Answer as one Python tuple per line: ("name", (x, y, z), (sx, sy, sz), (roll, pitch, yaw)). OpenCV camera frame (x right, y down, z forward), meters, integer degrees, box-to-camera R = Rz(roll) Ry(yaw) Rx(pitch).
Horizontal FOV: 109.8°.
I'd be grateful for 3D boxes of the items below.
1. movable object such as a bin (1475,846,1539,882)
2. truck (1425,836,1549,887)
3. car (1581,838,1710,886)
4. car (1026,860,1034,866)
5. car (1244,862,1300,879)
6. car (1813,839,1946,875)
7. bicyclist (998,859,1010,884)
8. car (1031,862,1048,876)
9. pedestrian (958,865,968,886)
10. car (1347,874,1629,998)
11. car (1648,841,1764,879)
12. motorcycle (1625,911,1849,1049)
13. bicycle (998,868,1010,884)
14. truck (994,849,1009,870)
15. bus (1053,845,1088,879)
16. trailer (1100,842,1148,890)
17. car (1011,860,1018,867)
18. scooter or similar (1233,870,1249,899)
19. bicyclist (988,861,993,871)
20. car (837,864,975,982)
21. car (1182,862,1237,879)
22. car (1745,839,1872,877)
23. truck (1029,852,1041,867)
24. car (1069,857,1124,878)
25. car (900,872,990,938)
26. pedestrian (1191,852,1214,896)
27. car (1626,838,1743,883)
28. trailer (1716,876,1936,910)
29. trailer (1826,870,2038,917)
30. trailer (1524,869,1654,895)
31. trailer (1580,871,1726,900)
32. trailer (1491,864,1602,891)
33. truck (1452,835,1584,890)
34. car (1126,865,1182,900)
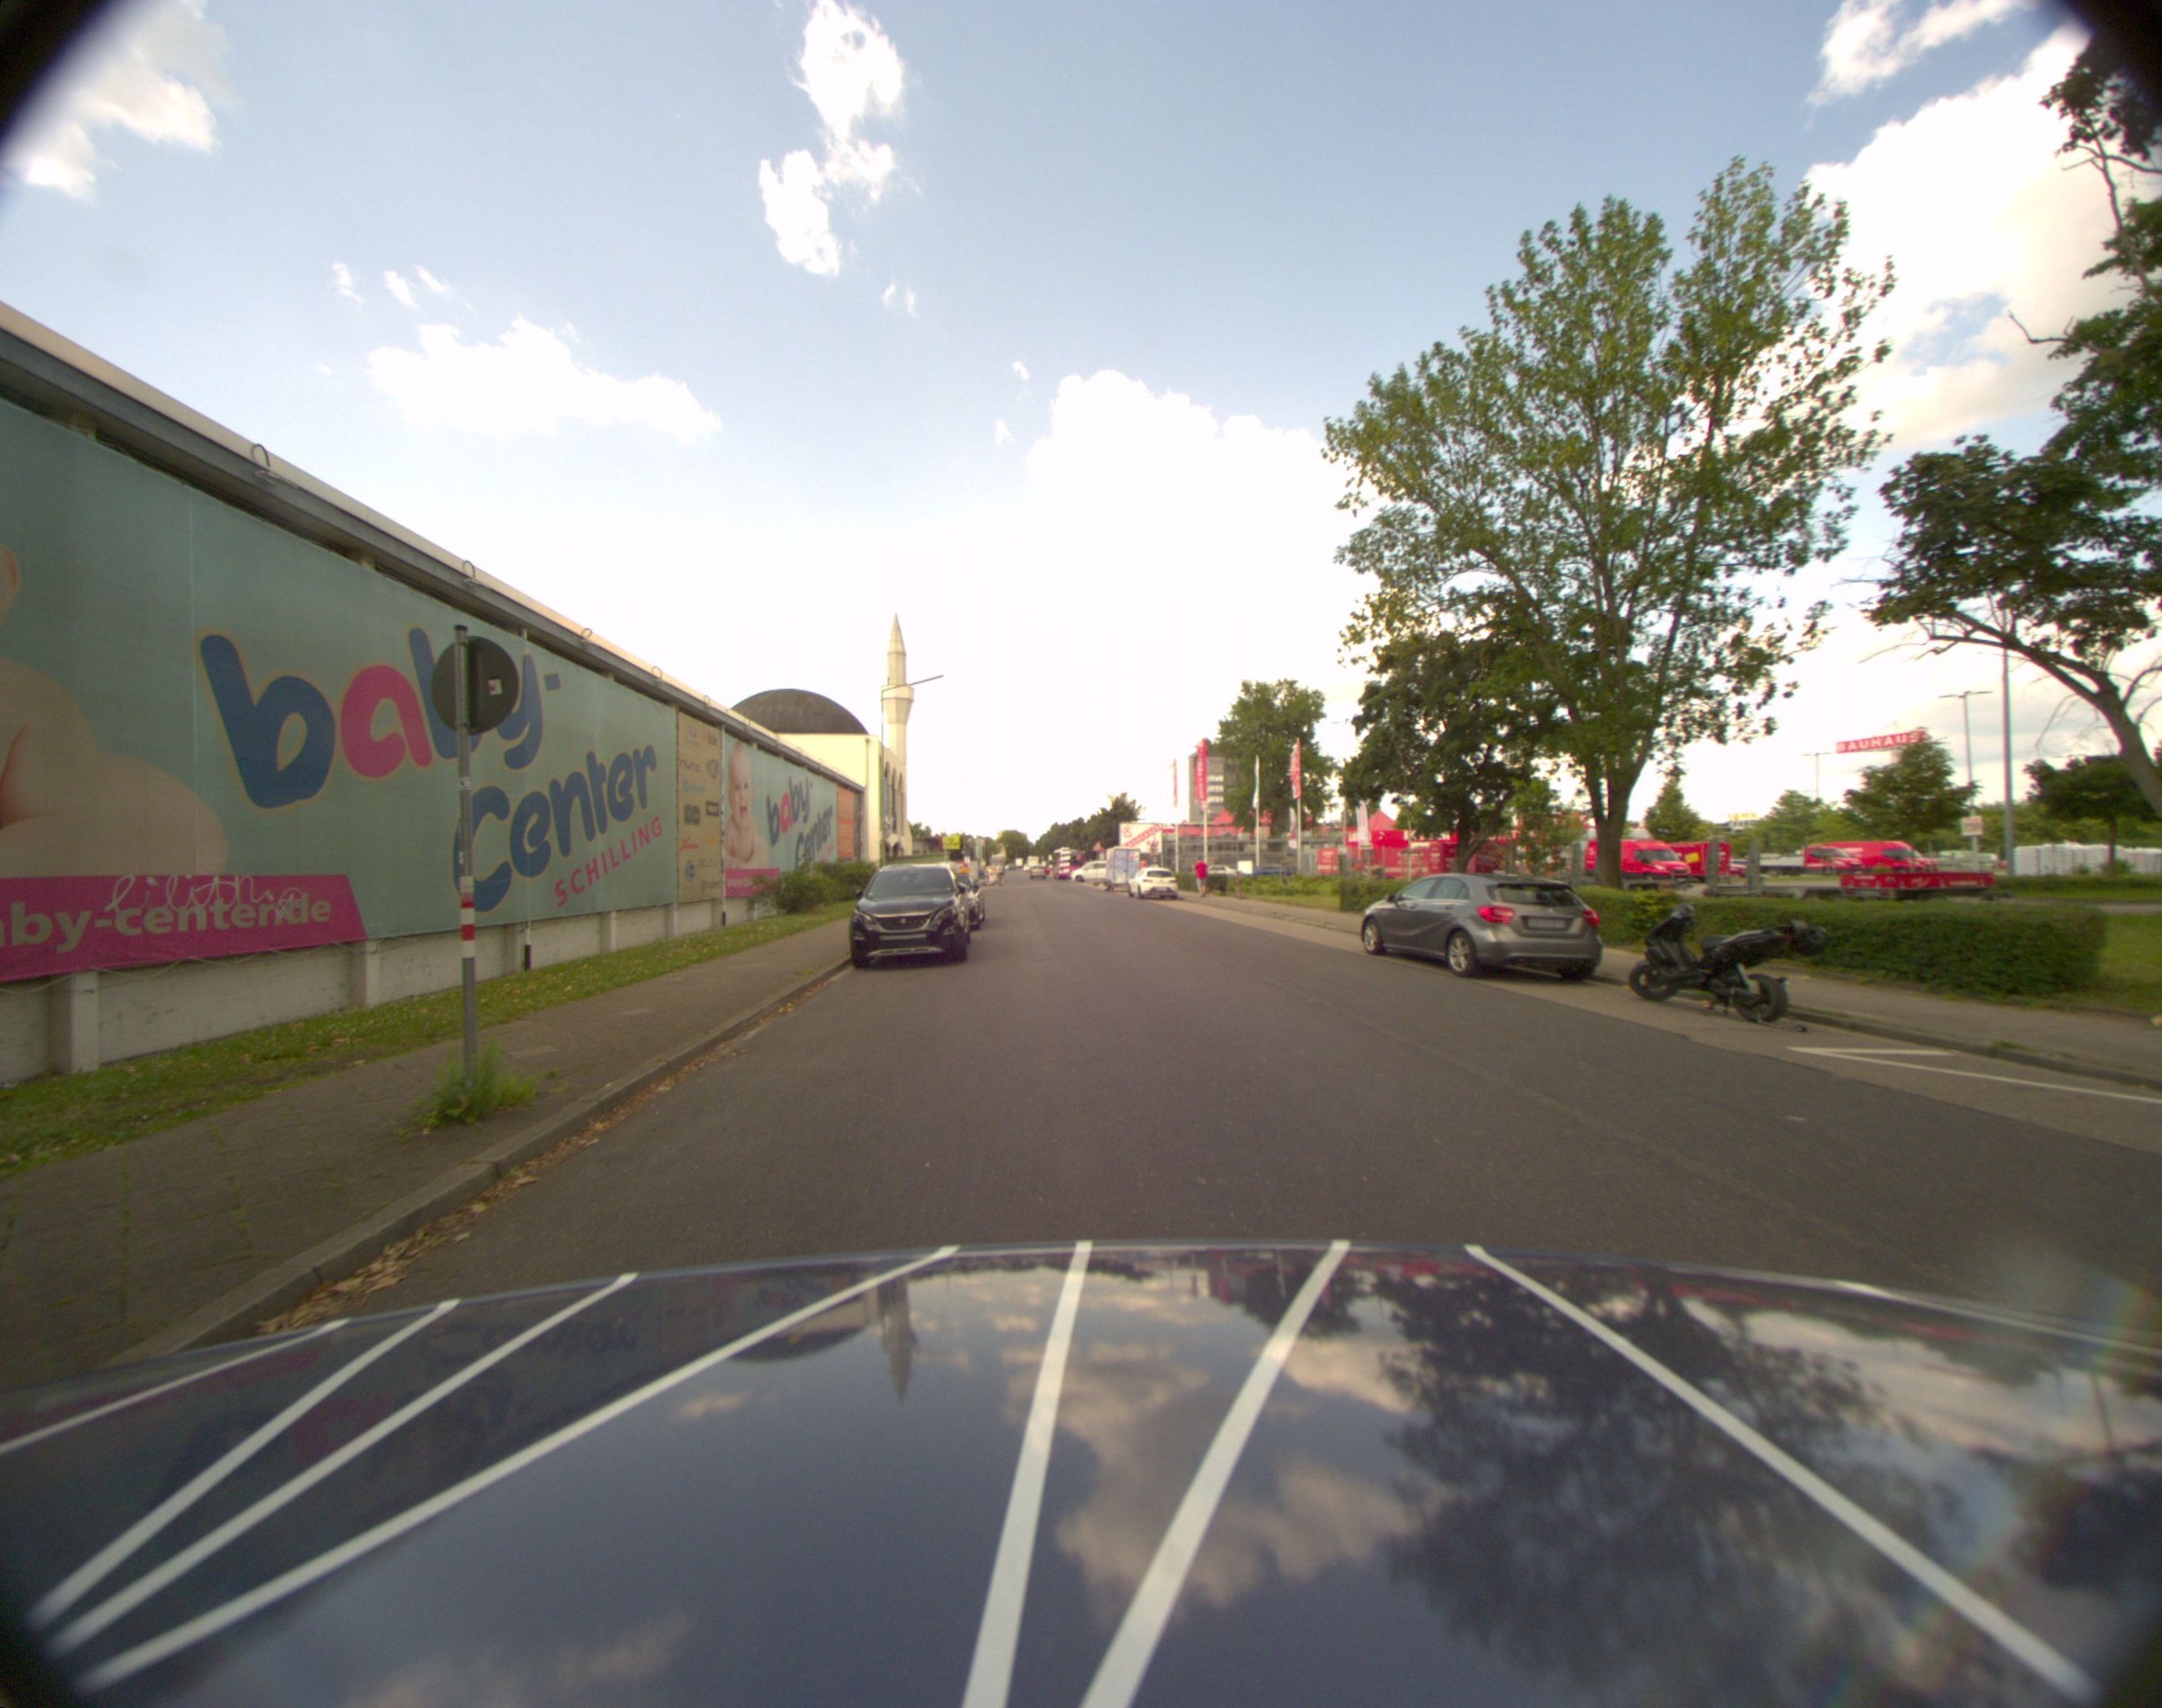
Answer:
("movable object such as a bin", (27.630, 0.642, 49.410), (1.999, 2.261, 3.544), (-1, 0, -5))
("truck", (21.573, 0.385, 40.493), (5.771, 2.579, 1.814), (-1, 2, -3))
("car", (32.398, 0.354, 43.985), (2.273, 2.579, 6.434), (-1, 1, -5))
("car", (-12.040, 2.124, 177.860), (1.688, 1.461, 3.610), (1, -1, -6))
("car", (16.709, 1.421, 66.480), (4.378, 1.368, 1.929), (-1, 0, -5))
("car", (56.372, 0.118, 53.924), (2.273, 2.402, 6.433), (-1, 1, -6))
("bicyclist", (-5.910, 1.327, 58.067), (0.809, 1.782, 1.206), (-3, 1, -6))
("car", (-4.437, 1.628, 81.303), (1.596, 1.456, 3.760), (1, -1, -6))
("pedestrian", (-8.664, 1.551, 55.842), (0.683, 1.525, 1.129), (-1, 0, -7))
("car", (5.825, 1.079, 11.606), (1.714, 1.411, 4.329), (2, -1, -4))
("car", (42.794, 0.304, 52.322), (2.273, 2.402, 6.433), (-1, 1, -6))
("motorcycle", (6.669, 1.228, 7.868), (0.623, 1.131, 1.802), (2, 0, -5))
("bicycle", (-5.887, 1.676, 58.019), (0.800, 1.173, 2.625), (-2, 0, -6))
("truck", (-16.418, 1.218, 157.788), (2.786, 4.092, 8.275), (-3, 0, -5))
("bus", (-1.302, 0.878, 85.577), (2.671, 3.402, 13.212), (3, -1, -5))
("trailer", (2.586, 0.733, 46.548), (2.146, 2.766, 4.701), (2, -1, -6))
("car", (-17.556, 2.504, 200.970), (1.798, 1.881, 3.998), (-1, -1, -6))
("scooter or similar", (6.852, 1.293, 32.552), (0.518, 1.186, 1.280), (-1, 0, 6))
("bicyclist", (-17.537, 2.383, 146.969), (0.797, 1.899, 0.828), (3, 0, -4))
("car", (-2.923, 1.051, 13.631), (1.813, 1.655, 4.637), (-3, 0, -7))
("car", (11.993, 1.524, 70.905), (4.697, 1.445, 1.954), (-1, 0, -4))
("car", (50.289, 0.201, 52.805), (2.273, 2.402, 6.433), (-1, 1, -6))
("truck", (-11.972, 1.488, 197.462), (2.756, 3.701, 7.167), (1, 0, -6))
("car", (1.430, 1.242, 70.312), (5.013, 1.937, 1.992), (-1, 0, 0))
("car", (-3.461, 1.257, 20.134), (1.813, 1.382, 4.586), (-3, 0, -4))
("pedestrian", (5.588, 0.915, 34.992), (0.812, 2.002, 0.885), (-1, 0, -6))
("car", (36.739, 0.300, 46.525), (2.273, 2.579, 5.719), (-1, 1, -5))
("trailer", (22.675, 1.174, 23.277), (4.606, 0.907, 2.188), (-1, -1, 0))
("trailer", (23.030, 1.047, 20.665), (3.826, 1.183, 1.715), (-1, -1, 0))
("trailer", (21.666, 1.170, 32.487), (4.247, 0.907, 2.157), (-1, 1, -7))
("trailer", (21.836, 1.170, 29.104), (4.247, 0.907, 2.021), (-1, 1, -7))
("trailer", (21.317, 1.061, 34.876), (4.247, 1.114, 1.670), (-1, 2, -7))
("truck", (21.369, 0.385, 37.271), (5.564, 2.579, 1.778), (-1, 2, -5))
("car", (3.395, 1.303, 36.072), (1.771, 1.470, 4.233), (2, -1, -6))
